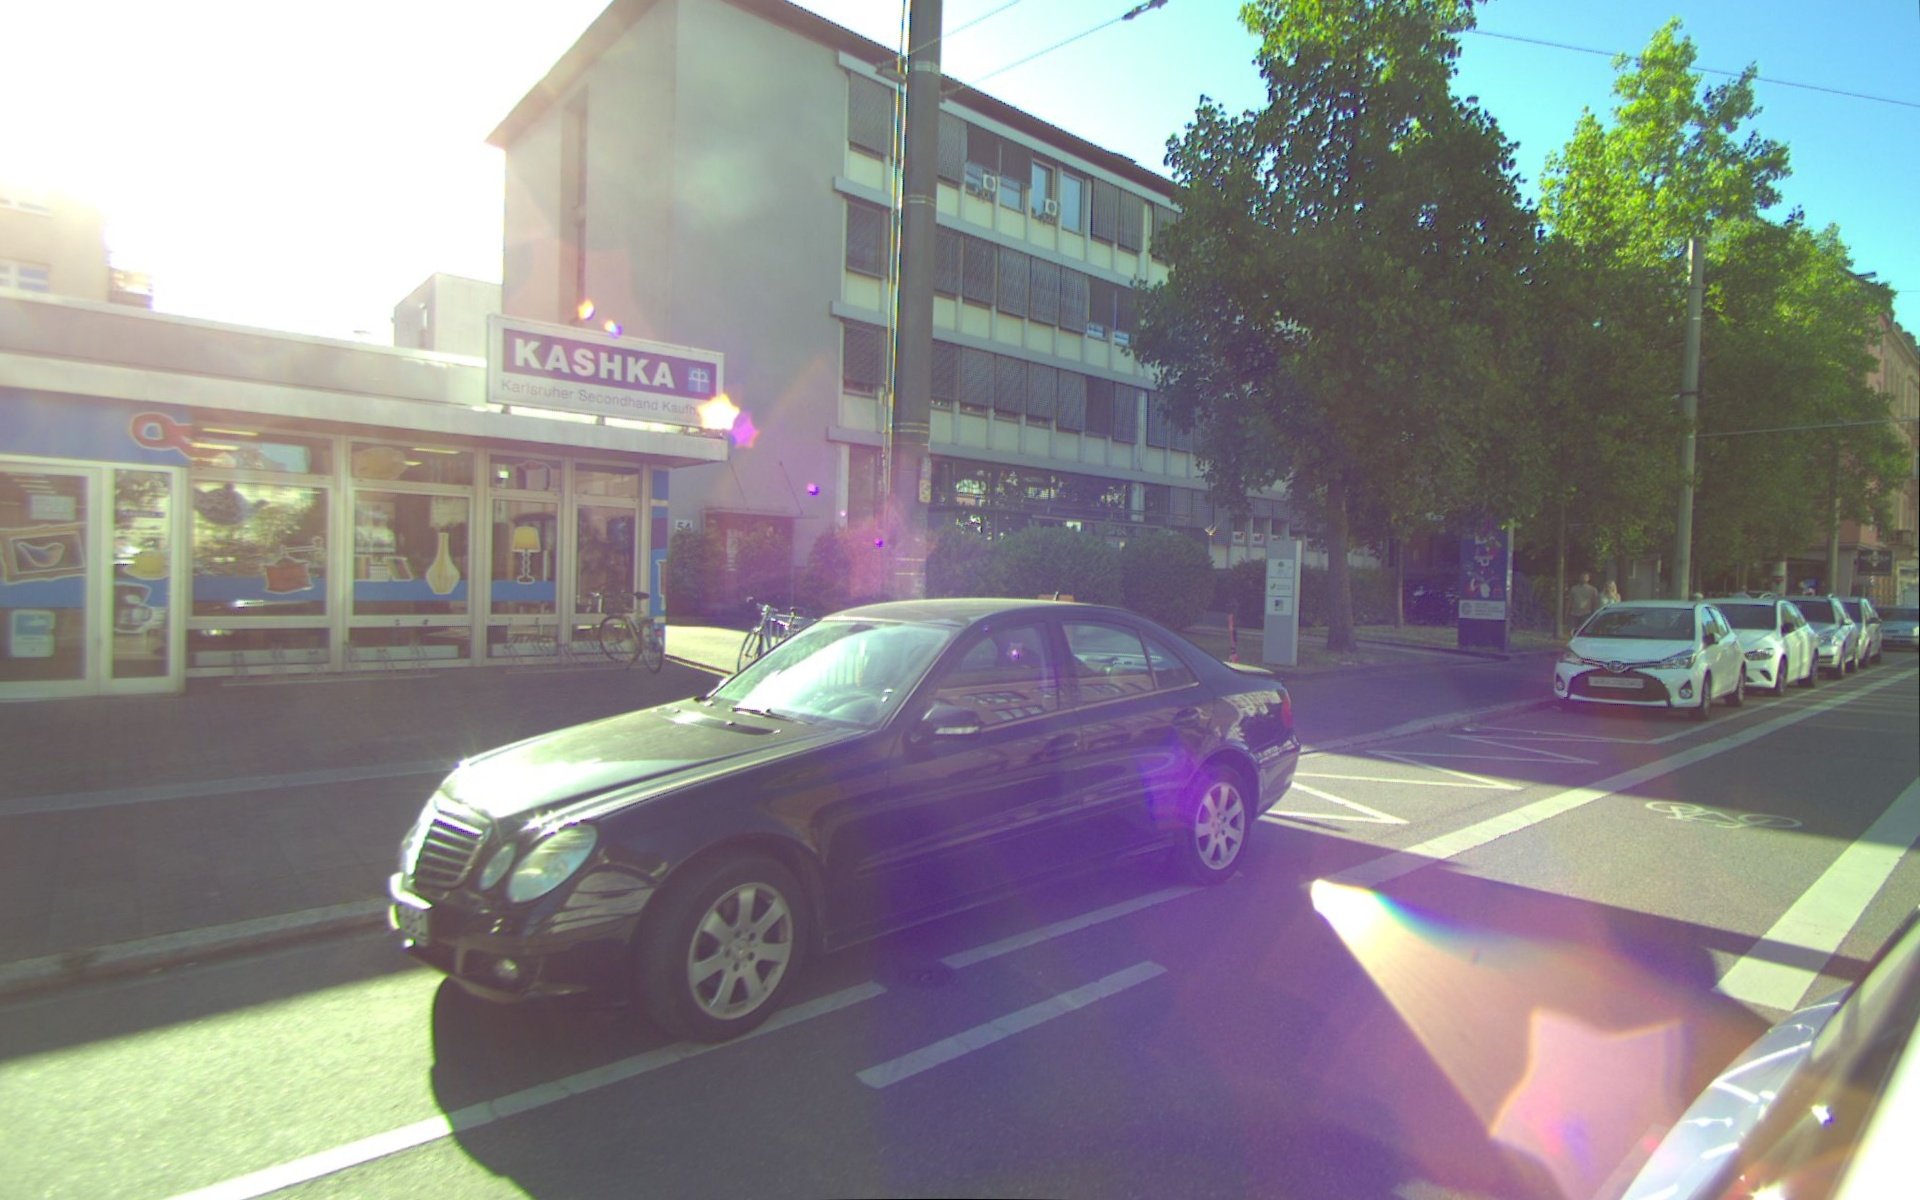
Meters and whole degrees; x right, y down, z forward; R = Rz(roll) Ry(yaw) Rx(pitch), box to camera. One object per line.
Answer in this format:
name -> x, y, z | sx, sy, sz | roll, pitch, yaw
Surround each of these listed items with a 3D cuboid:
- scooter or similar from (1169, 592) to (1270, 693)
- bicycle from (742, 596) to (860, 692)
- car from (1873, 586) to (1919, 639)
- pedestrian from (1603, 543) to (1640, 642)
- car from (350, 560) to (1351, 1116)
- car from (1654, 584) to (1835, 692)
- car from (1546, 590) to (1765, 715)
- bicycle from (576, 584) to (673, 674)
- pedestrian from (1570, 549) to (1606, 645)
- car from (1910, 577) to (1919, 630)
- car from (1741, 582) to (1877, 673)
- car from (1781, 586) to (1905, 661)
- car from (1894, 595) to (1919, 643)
scooter or similar -> 3.461, 0.535, 13.464 | 1.290, 1.224, 0.582 | -1, 5, -40
bicycle -> -1.887, 0.477, 11.777 | 0.399, 0.933, 1.811 | -1, 4, -43
car -> 30.036, 0.354, 31.659 | 4.045, 1.501, 1.731 | -2, 2, -41
pedestrian -> 13.927, -0.165, 21.311 | 0.564, 2.039, 0.507 | -1, 1, -41
car -> -0.072, 0.590, 5.042 | 4.845, 1.501, 1.731 | -2, 2, -42
car -> 13.498, 0.560, 17.333 | 4.045, 1.597, 1.731 | -1, 1, -41
car -> 9.743, 0.622, 14.074 | 3.799, 1.502, 1.730 | 0, 0, -43
bicycle -> -4.363, 0.337, 13.092 | 0.562, 0.977, 1.807 | -1, 5, -40
pedestrian -> 13.516, -0.075, 21.780 | 0.564, 2.039, 0.507 | -1, 1, -41
car -> 40.098, 0.109, 41.173 | 4.045, 2.075, 1.731 | -2, 1, -41
car -> 17.611, 0.487, 20.936 | 4.048, 1.615, 1.730 | -2, 2, -44
car -> 21.186, 0.494, 24.229 | 4.045, 1.570, 1.731 | -2, 1, -41
car -> 34.133, 0.625, 35.416 | 4.045, 1.501, 1.731 | -2, 2, -41
